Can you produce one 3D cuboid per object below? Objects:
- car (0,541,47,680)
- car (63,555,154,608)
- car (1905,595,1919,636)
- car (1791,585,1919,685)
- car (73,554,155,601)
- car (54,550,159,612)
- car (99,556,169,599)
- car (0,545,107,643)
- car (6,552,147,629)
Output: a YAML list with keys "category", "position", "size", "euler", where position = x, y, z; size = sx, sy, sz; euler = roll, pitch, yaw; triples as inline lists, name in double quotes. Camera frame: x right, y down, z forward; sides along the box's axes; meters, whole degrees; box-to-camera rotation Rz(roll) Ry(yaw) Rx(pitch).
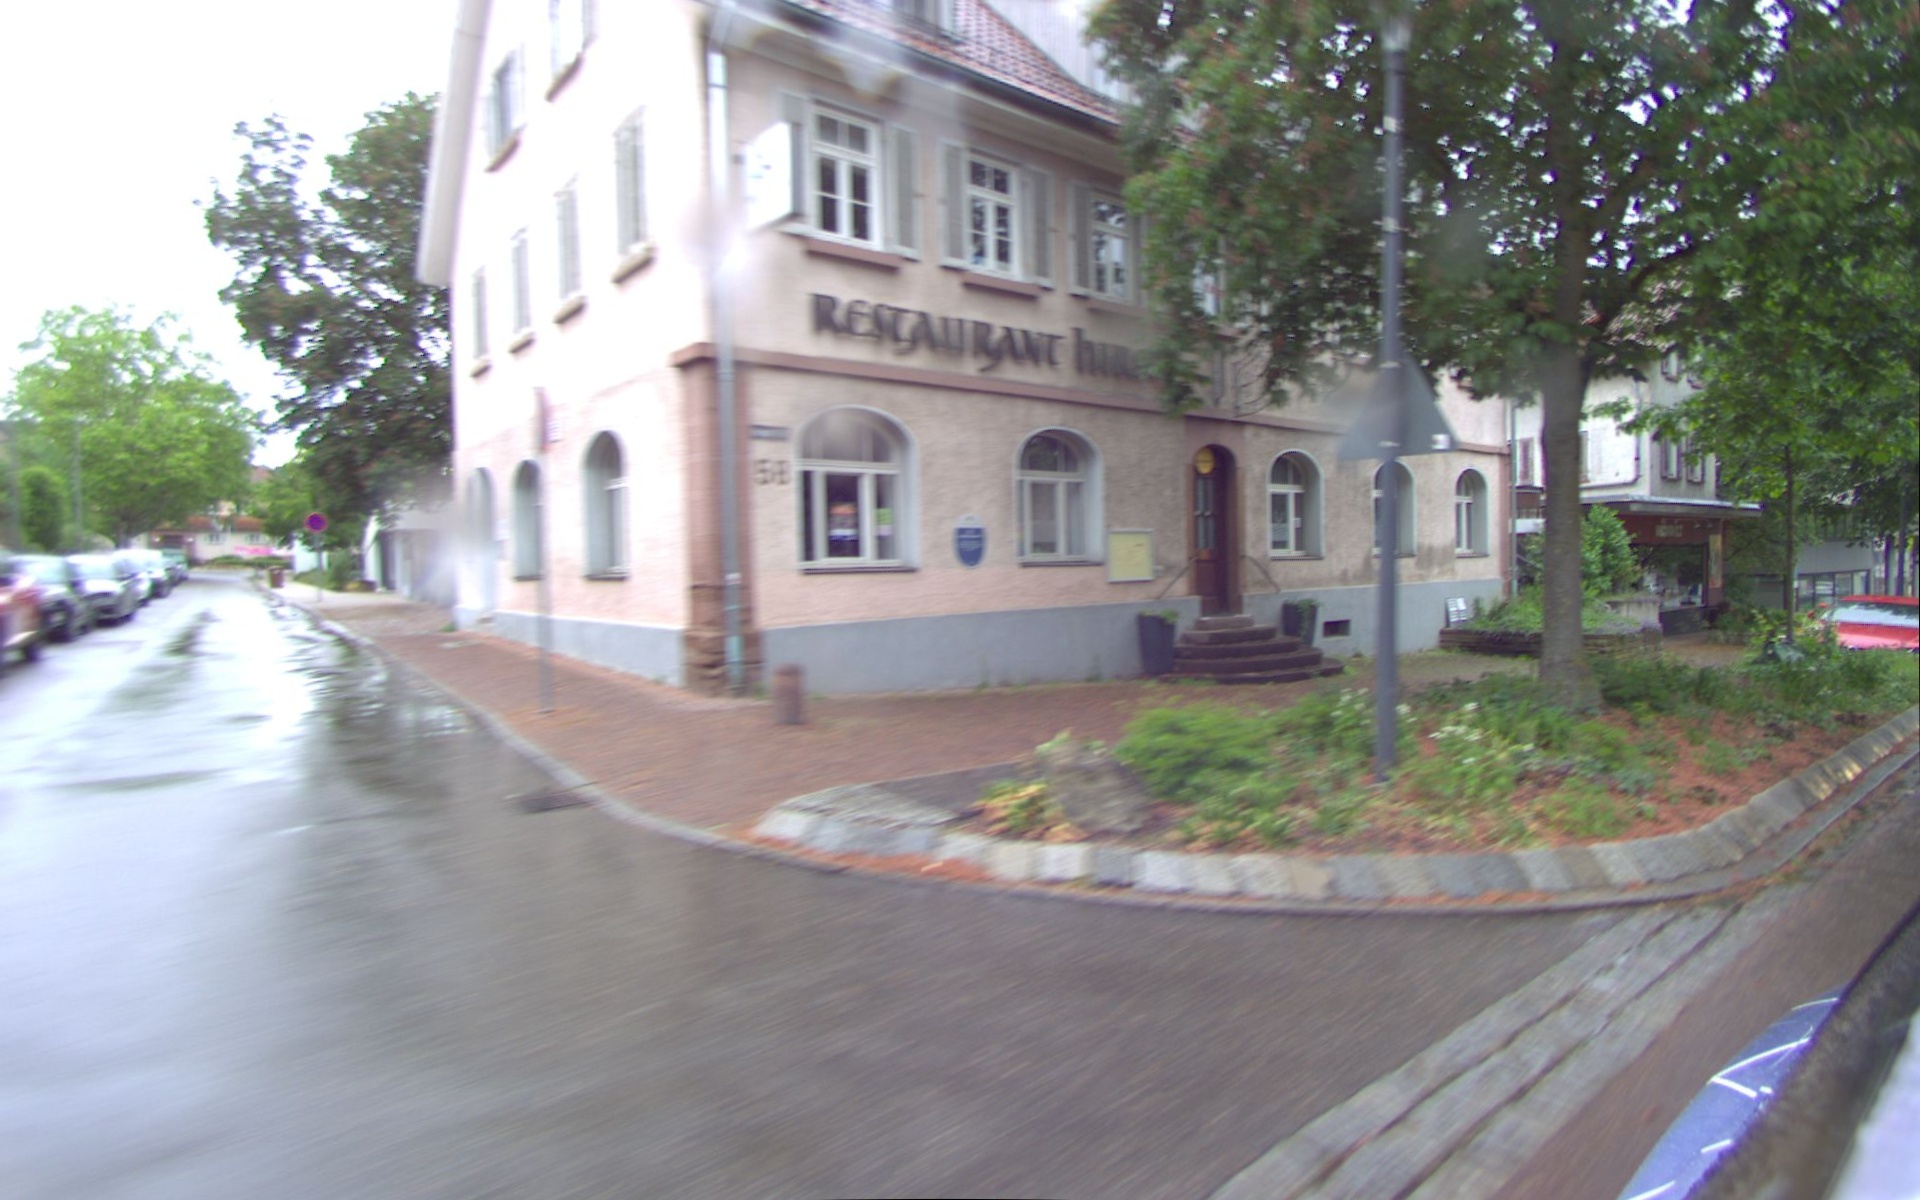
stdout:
- category: "car"
  position: [-12.966, 0.083, 12.776]
  size: [1.673, 1.641, 4.195]
  euler: [0, 2, -36]
- category: "car"
  position: [-25.853, -0.567, 30.848]
  size: [1.805, 1.514, 4.194]
  euler: [0, 1, -36]
- category: "car"
  position: [36.425, 0.544, 35.781]
  size: [1.798, 1.478, 4.265]
  euler: [0, 0, -41]
- category: "car"
  position: [16.102, 0.533, 17.368]
  size: [4.735, 1.487, 1.897]
  euler: [0, 1, -39]
- category: "car"
  position: [-28.814, -0.769, 34.577]
  size: [1.805, 1.514, 4.194]
  euler: [0, 1, -36]
- category: "car"
  position: [-22.635, -0.522, 26.972]
  size: [1.805, 1.514, 4.194]
  euler: [0, 1, -36]
- category: "car"
  position: [-31.442, -0.857, 38.617]
  size: [1.805, 1.514, 4.194]
  euler: [0, 1, -36]
- category: "car"
  position: [-16.785, -0.167, 18.243]
  size: [1.746, 1.603, 3.971]
  euler: [0, 2, -34]
- category: "car"
  position: [-19.138, -0.290, 22.100]
  size: [1.805, 1.513, 4.196]
  euler: [-2, 3, -35]
